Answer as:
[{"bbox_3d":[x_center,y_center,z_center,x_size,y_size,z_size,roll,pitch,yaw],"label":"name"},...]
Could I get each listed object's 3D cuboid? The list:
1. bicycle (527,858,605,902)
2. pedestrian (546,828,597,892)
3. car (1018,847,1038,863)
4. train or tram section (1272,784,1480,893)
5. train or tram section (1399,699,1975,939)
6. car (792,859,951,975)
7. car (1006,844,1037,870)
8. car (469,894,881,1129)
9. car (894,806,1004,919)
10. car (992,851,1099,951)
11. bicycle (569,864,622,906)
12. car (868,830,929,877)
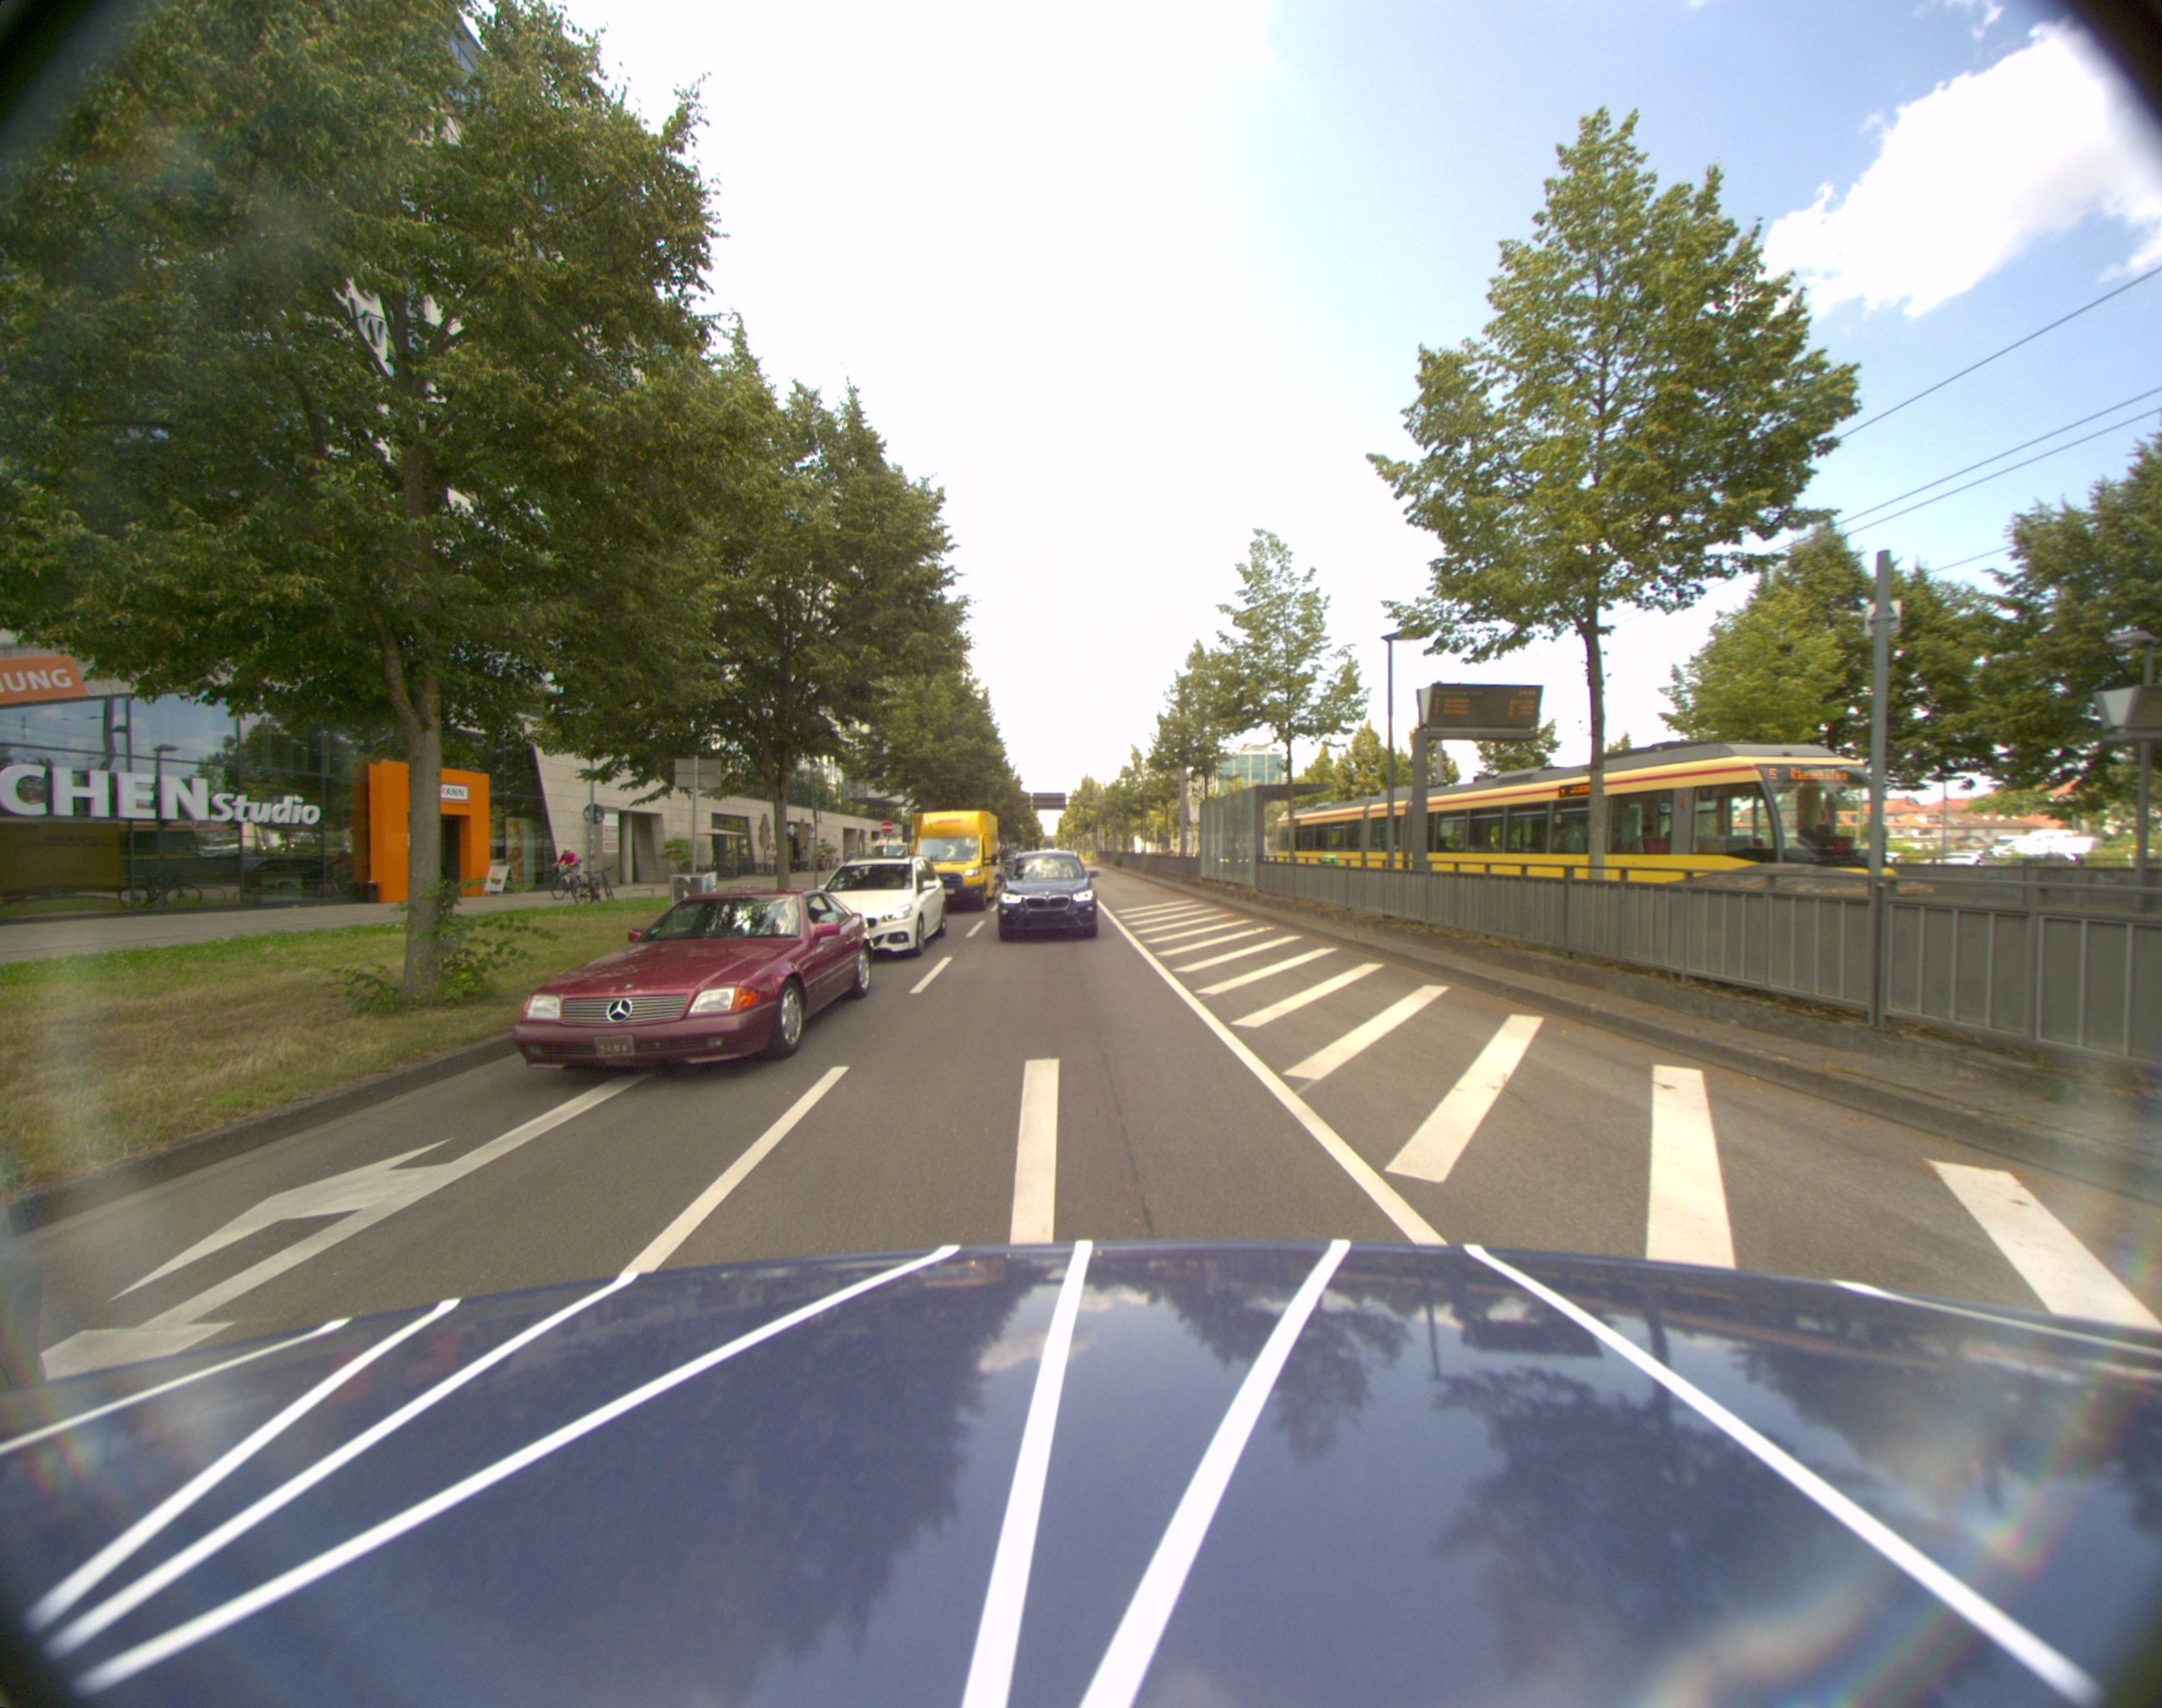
[{"bbox_3d":[-16.432,0.795,24.330,0.812,1.237,2.410,3,1,-1],"label":"bicycle"},{"bbox_3d":[-16.486,0.186,24.598,0.754,2.002,1.232,2,0,0],"label":"pedestrian"},{"bbox_3d":[-5.940,0.073,85.838,1.823,1.641,3.999,-2,1,1],"label":"car"},{"bbox_3d":[11.694,-0.540,32.691,2.694,3.617,14.660,0,0,-3],"label":"train or tram section"},{"bbox_3d":[12.308,-0.565,18.594,2.850,3.718,13.472,0,0,-3],"label":"train or tram section"},{"bbox_3d":[-3.399,0.938,13.135,1.674,1.589,4.127,-2,0,-2],"label":"car"},{"bbox_3d":[-4.437,0.198,57.241,1.999,1.751,4.295,-2,1,-1],"label":"car"},{"bbox_3d":[-3.168,1.130,6.994,1.674,1.254,4.091,-2,0,-2],"label":"car"},{"bbox_3d":[-3.790,0.177,23.299,2.284,2.837,7.253,-2,1,-2],"label":"car"},{"bbox_3d":[-0.686,0.810,15.177,1.774,1.589,4.126,-2,1,-2],"label":"car"},{"bbox_3d":[-13.449,0.845,21.102,0.516,1.082,1.748,0,0,-6],"label":"bicycle"},{"bbox_3d":[-10.218,-0.075,43.080,2.162,2.380,6.275,-2,1,-3],"label":"car"}]
